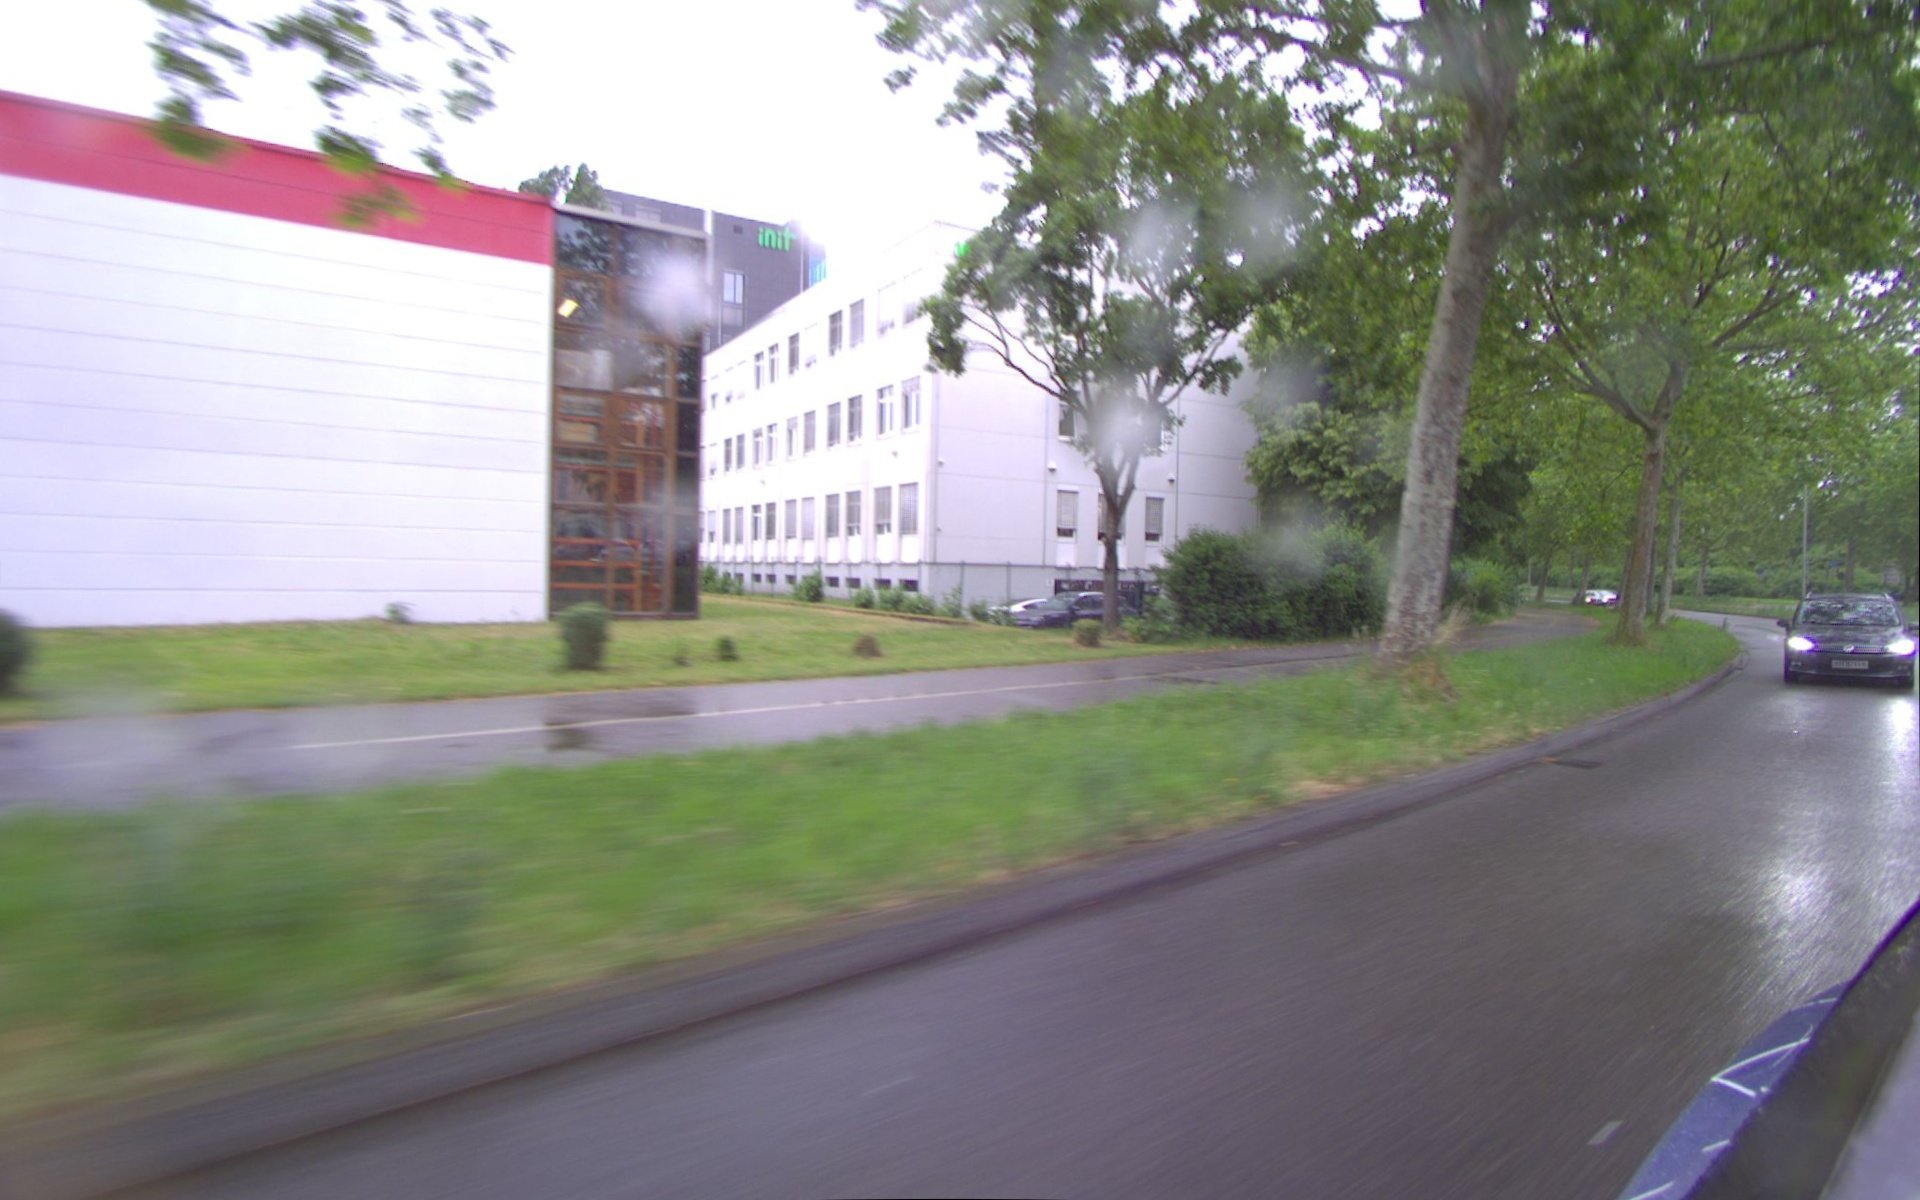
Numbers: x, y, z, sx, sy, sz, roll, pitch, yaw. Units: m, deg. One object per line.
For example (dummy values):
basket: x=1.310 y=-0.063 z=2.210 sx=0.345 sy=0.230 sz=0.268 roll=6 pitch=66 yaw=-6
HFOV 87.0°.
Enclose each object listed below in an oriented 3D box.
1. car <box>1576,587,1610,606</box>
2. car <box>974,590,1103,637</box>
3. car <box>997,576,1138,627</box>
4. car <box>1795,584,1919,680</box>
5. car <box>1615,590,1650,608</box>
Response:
car: x=53.850 y=-0.323 z=86.097 sx=1.765 sy=1.575 sz=3.970 roll=1 pitch=1 yaw=22
car: x=2.678 y=0.429 z=34.325 sx=4.028 sy=1.494 sz=1.787 roll=0 pitch=1 yaw=-27
car: x=3.349 y=0.027 z=31.459 sx=4.028 sy=1.494 sz=1.787 roll=0 pitch=1 yaw=-27
car: x=16.884 y=0.508 z=18.923 sx=1.778 sy=1.575 sz=3.940 roll=2 pitch=2 yaw=42
car: x=60.148 y=-0.108 z=90.558 sx=1.764 sy=1.575 sz=3.972 roll=1 pitch=1 yaw=21
